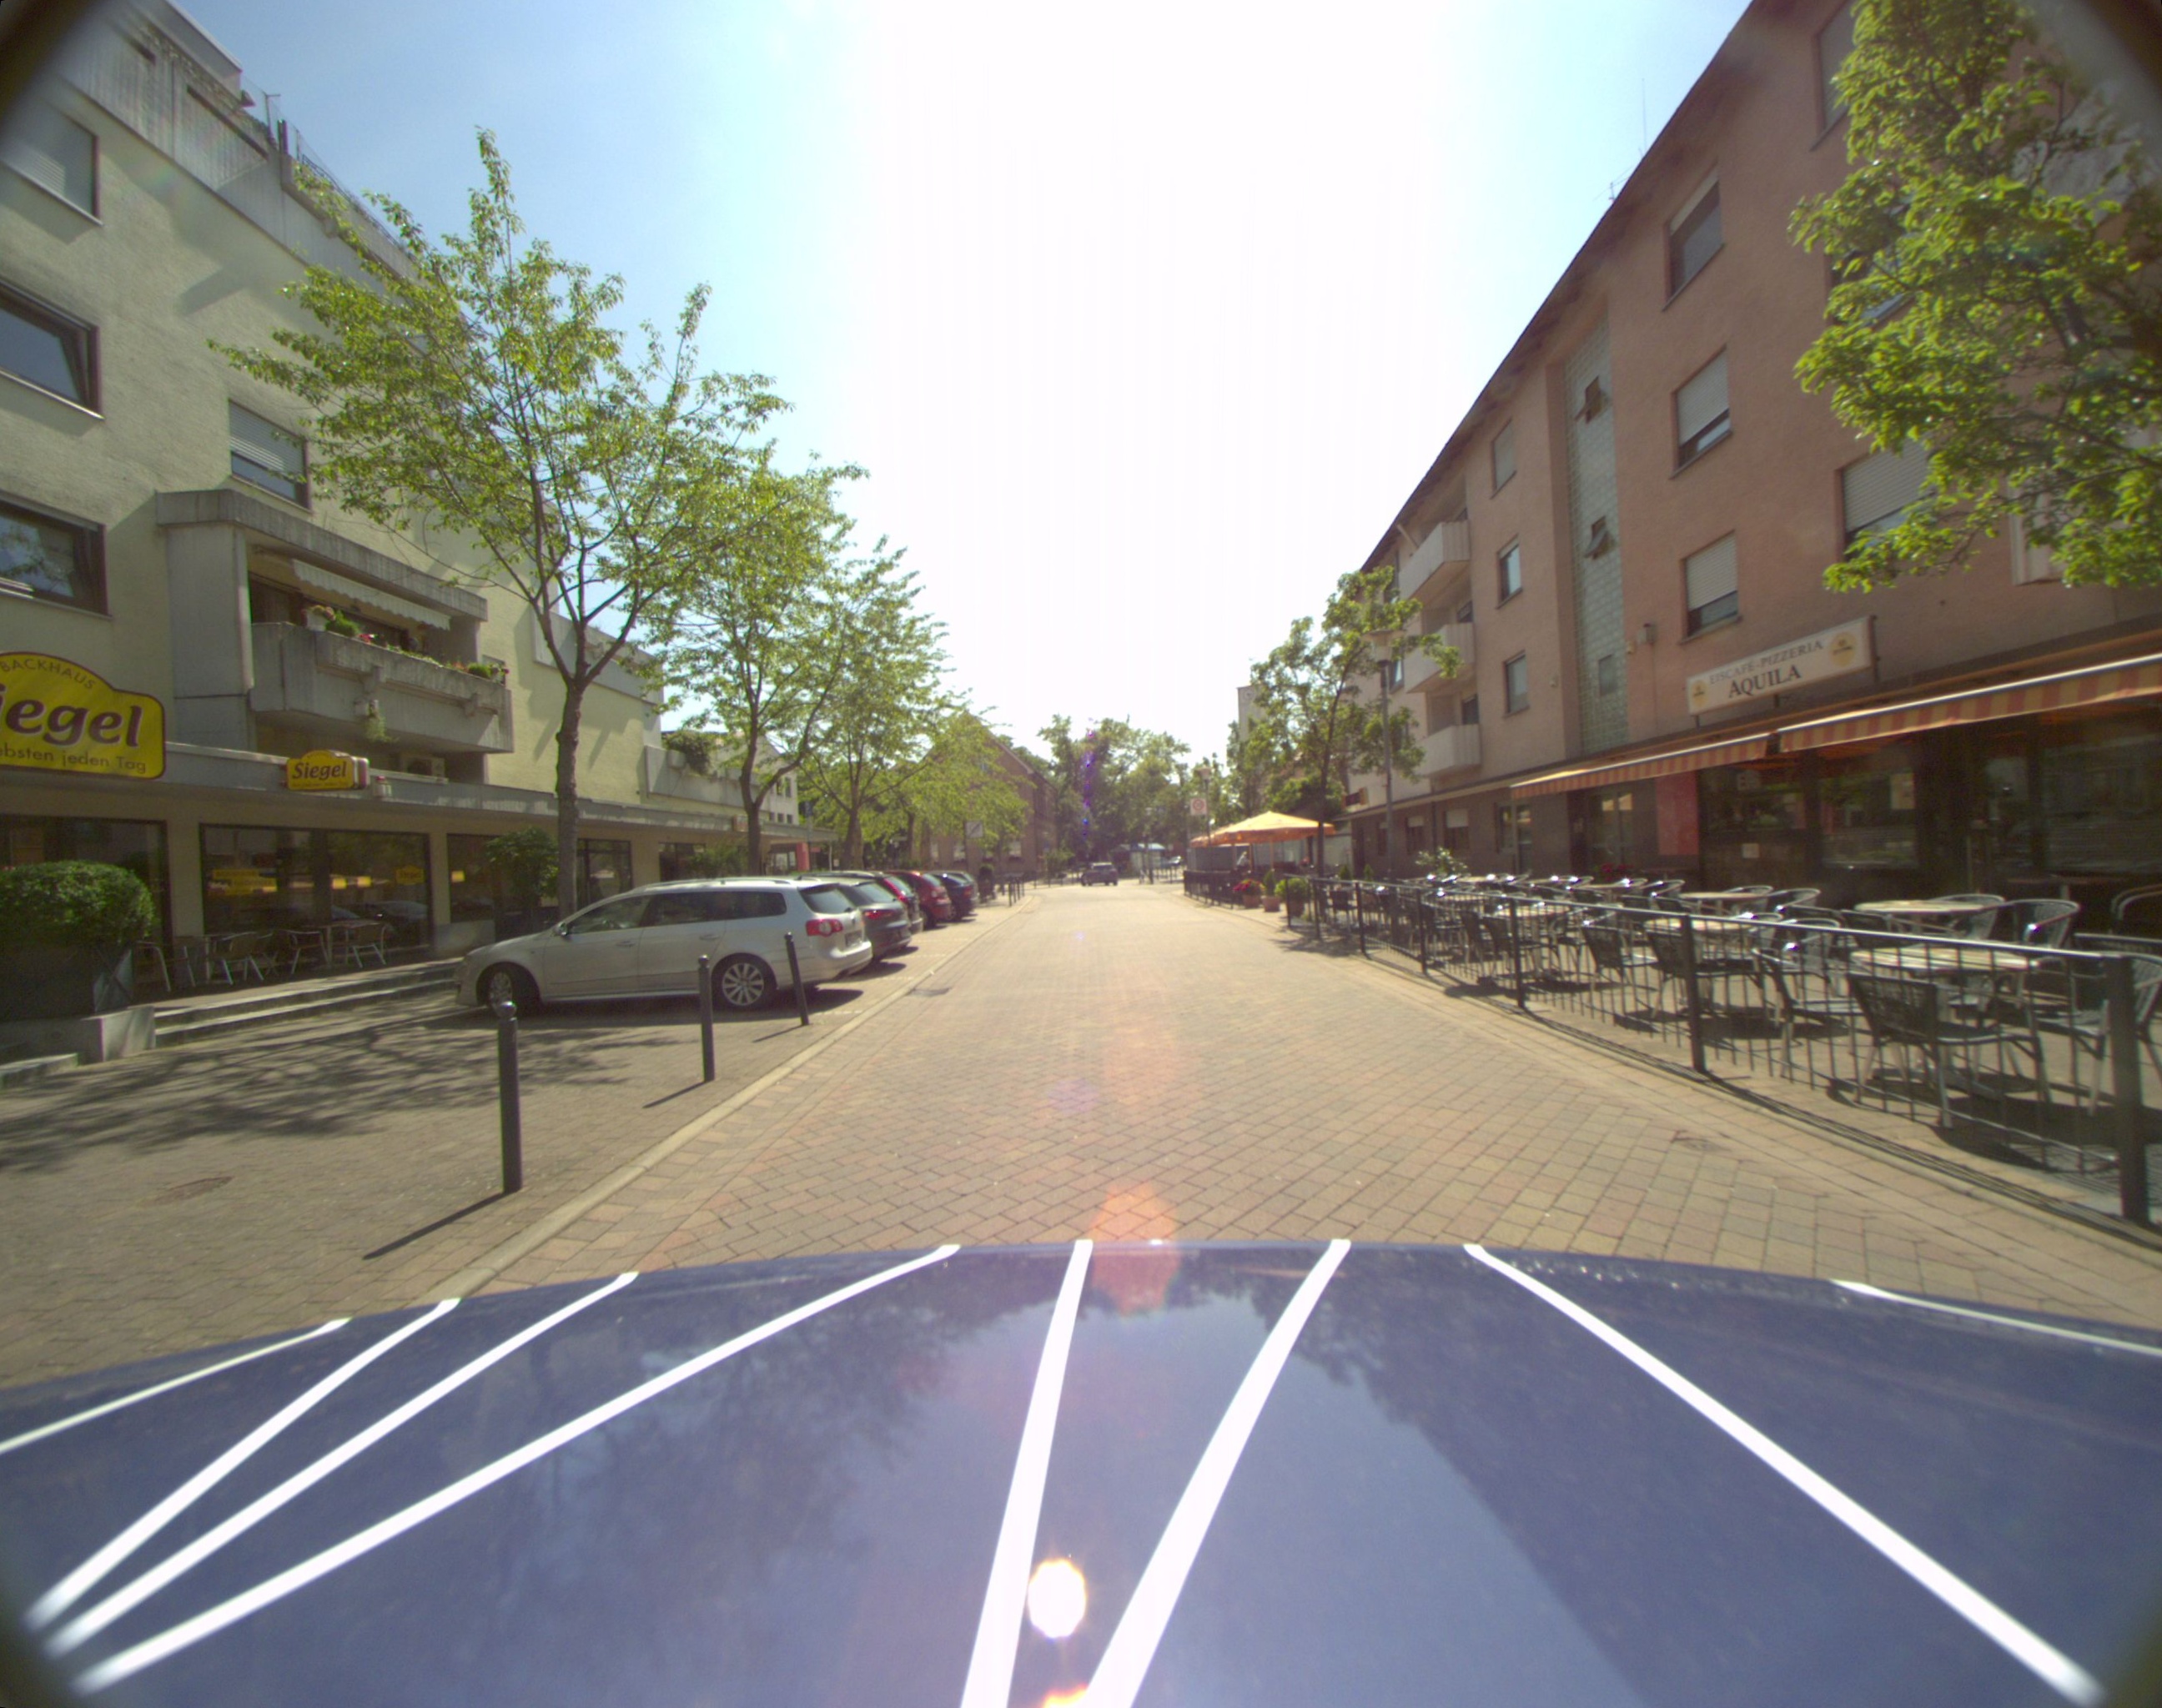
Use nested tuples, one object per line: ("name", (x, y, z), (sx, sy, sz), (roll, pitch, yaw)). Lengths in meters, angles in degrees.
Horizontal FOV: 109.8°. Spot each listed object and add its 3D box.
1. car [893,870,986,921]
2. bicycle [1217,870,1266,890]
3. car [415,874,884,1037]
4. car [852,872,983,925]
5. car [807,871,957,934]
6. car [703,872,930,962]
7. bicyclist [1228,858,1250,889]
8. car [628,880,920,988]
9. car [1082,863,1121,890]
("car", (-4.531, 1.322, 24.568), (2.703, 1.437, 1.268), (-3, 0, 0))
("bicycle", (8.394, 1.361, 39.769), (2.343, 0.919, 0.775), (-3, 0, -4))
("car", (-4.966, 1.142, 9.215), (4.586, 1.534, 1.807), (-3, 0, 1))
("car", (-4.641, 1.267, 21.870), (3.401, 1.382, 1.460), (-1, 0, 1))
("car", (-5.019, 1.205, 19.442), (3.401, 1.455, 1.520), (-1, 0, 1))
("car", (-4.872, 1.142, 14.324), (3.652, 1.508, 1.633), (-1, 0, 1))
("bicyclist", (8.245, 1.012, 39.763), (0.860, 1.568, 0.788), (-3, 0, -5))
("car", (-4.571, 1.171, 11.677), (3.800, 1.423, 1.614), (-1, 0, 1))
("car", (1.250, 1.423, 48.801), (1.904, 1.546, 5.030), (-3, 0, -5))
